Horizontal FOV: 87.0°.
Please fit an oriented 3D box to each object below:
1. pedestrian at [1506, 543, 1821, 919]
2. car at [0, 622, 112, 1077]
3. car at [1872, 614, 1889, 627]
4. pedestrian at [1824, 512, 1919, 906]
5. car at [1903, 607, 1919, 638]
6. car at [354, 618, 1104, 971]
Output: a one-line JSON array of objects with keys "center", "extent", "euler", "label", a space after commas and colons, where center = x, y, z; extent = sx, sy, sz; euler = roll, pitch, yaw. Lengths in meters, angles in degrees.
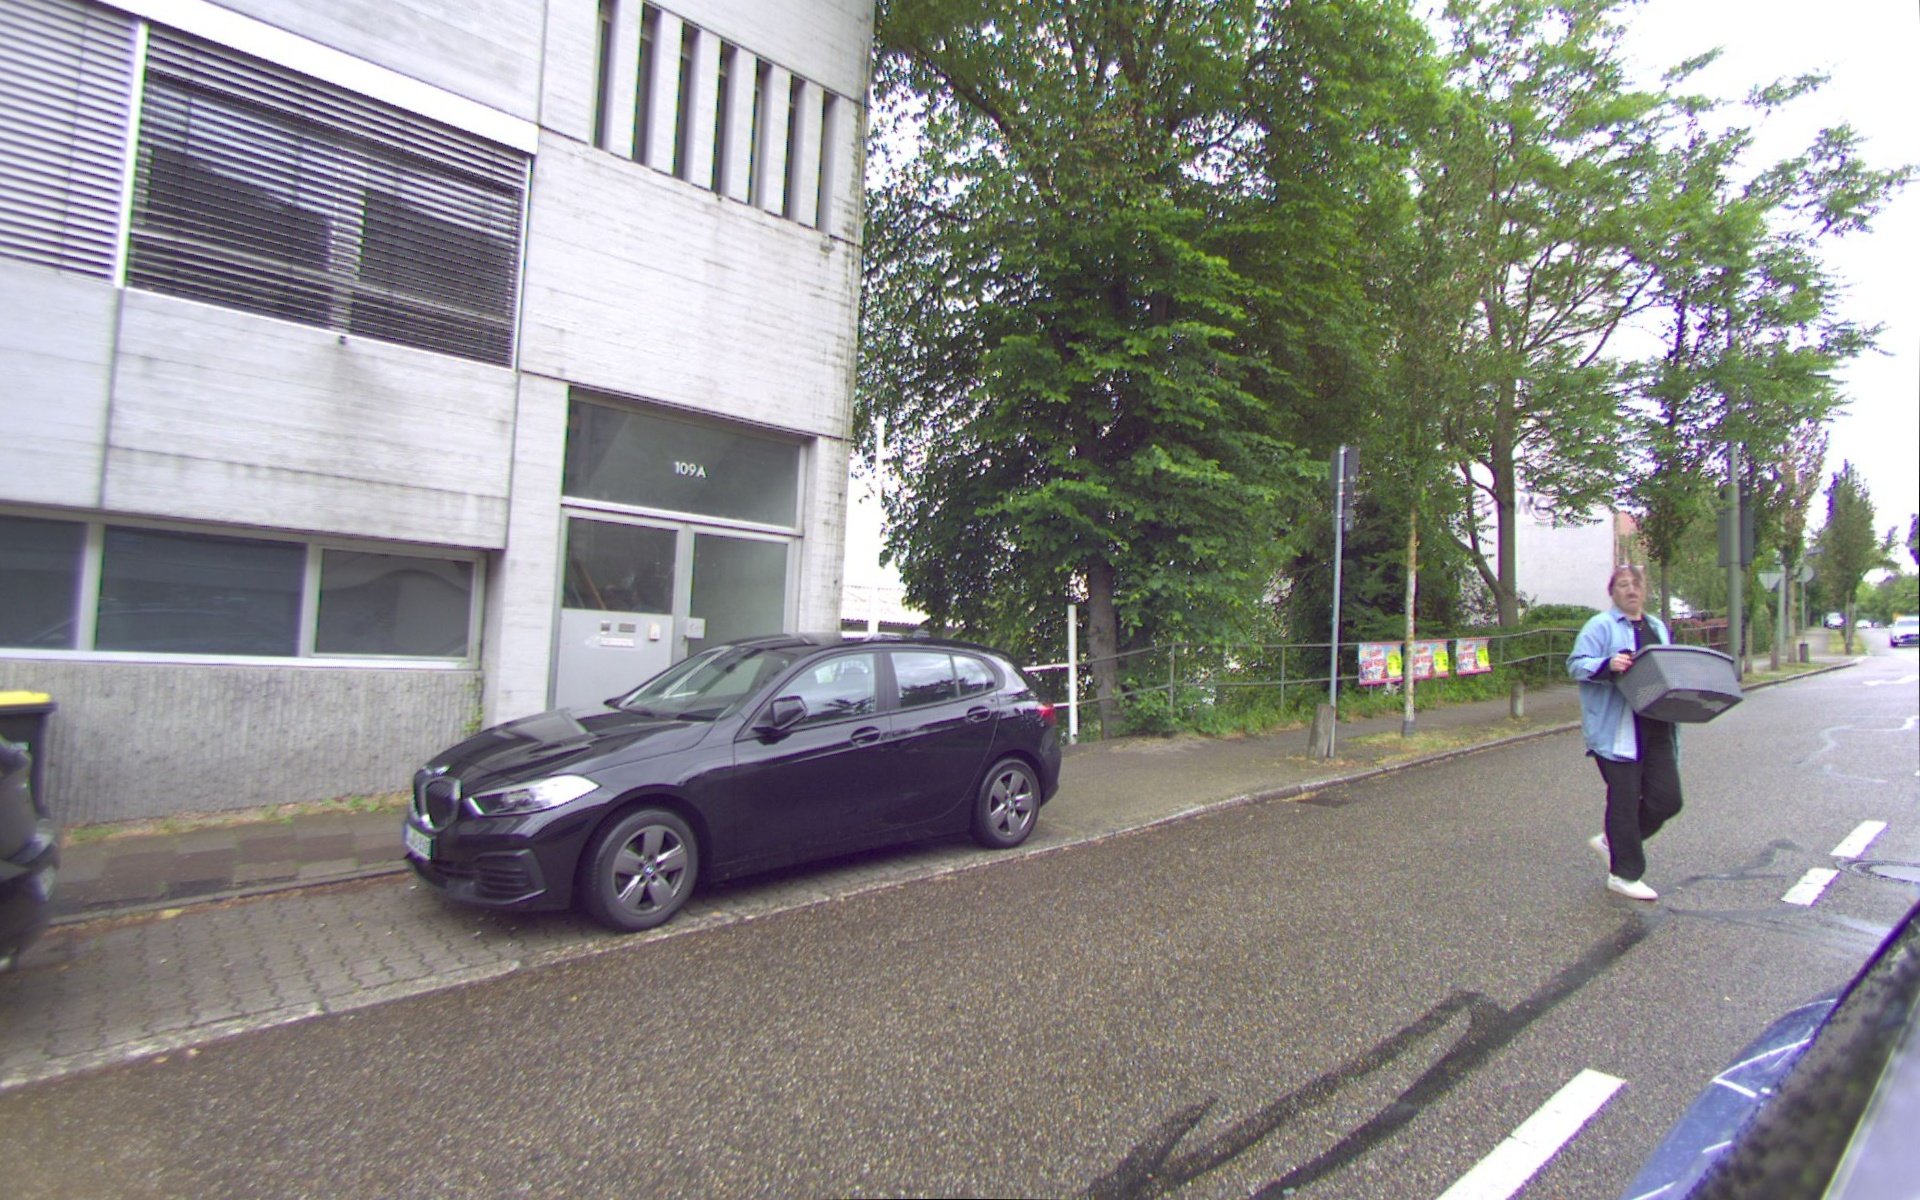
[{"center": [3.774, 0.636, 5.517], "extent": [0.807, 1.805, 1.075], "euler": [-1, -2, -19], "label": "pedestrian"}, {"center": [-5.209, 0.847, 2.900], "extent": [4.173, 1.466, 1.753], "euler": [0, 0, -38], "label": "car"}, {"center": [137.528, 3.049, 151.229], "extent": [1.886, 1.741, 4.173], "euler": [2, 2, 42], "label": "car"}, {"center": [4.830, 0.504, 4.604], "extent": [0.807, 1.804, 1.076], "euler": [0, 1, -17], "label": "pedestrian"}, {"center": [53.758, 1.225, 56.130], "extent": [4.279, 1.638, 1.831], "euler": [-1, 0, -44], "label": "car"}, {"center": [-1.227, 0.874, 6.586], "extent": [4.368, 1.453, 1.996], "euler": [0, -1, -43], "label": "car"}]
